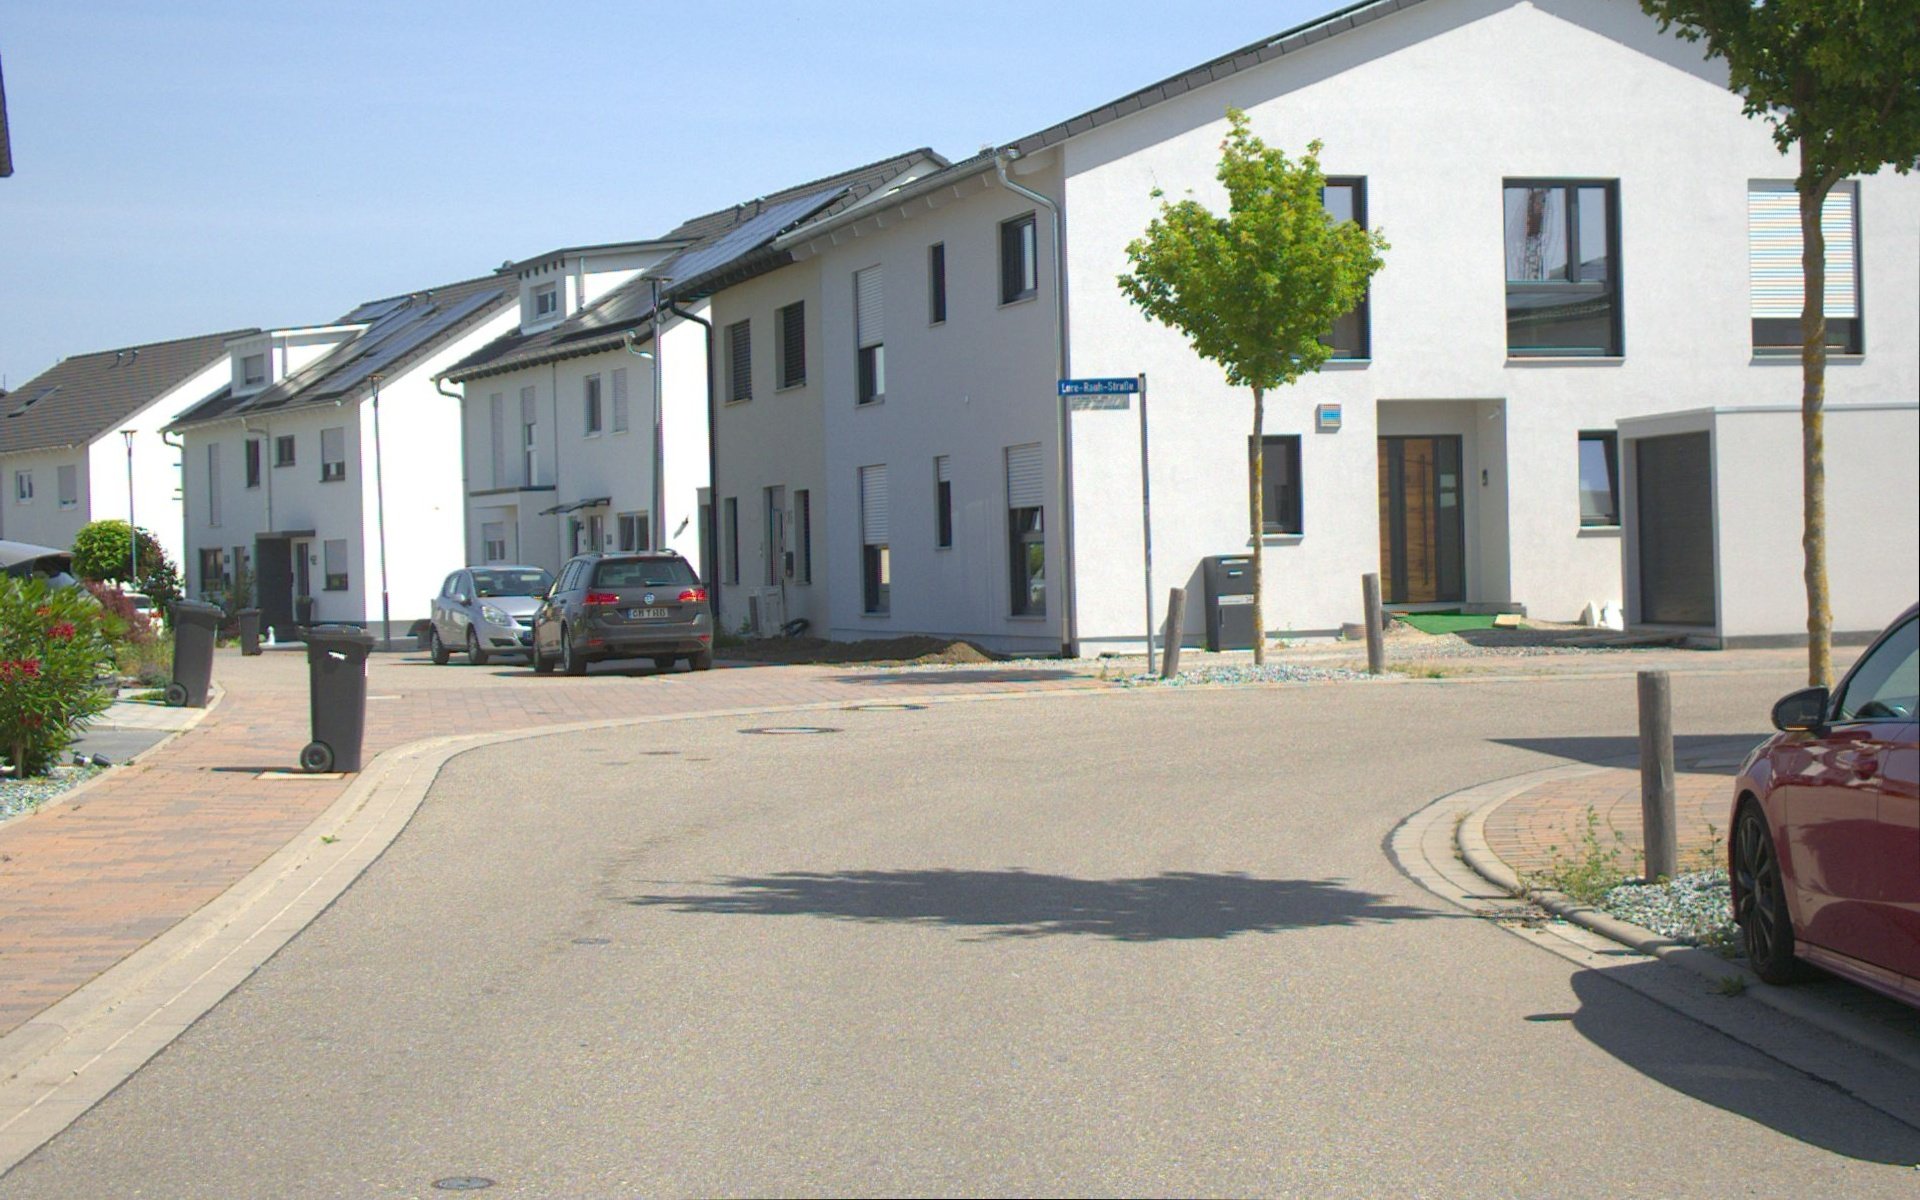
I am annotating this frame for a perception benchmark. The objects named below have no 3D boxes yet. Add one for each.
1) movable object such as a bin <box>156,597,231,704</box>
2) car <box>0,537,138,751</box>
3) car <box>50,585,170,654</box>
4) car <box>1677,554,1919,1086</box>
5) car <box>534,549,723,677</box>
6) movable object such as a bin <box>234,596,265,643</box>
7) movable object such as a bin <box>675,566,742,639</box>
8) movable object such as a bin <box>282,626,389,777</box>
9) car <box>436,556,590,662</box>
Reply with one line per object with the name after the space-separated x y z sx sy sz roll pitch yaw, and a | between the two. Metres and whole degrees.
-6.789 0.445 30.464 0.614 0.924 0.423 1 -1 -12 | movable object such as a bin
-8.158 0.319 24.856 3.987 1.481 1.754 -1 1 0 | car
-20.781 0.475 83.978 1.780 1.590 4.000 -2 1 -30 | car
3.502 0.579 10.182 1.762 1.433 4.520 -3 1 0 | car
-4.073 0.136 41.707 1.726 1.418 4.001 -2 1 -13 | car
-14.557 0.392 70.429 0.557 0.945 0.247 -2 1 -20 | movable object such as a bin
-3.797 0.031 51.911 0.784 1.046 0.804 -4 1 -18 | movable object such as a bin
-3.989 0.643 21.969 0.535 0.933 0.526 1 1 8 | movable object such as a bin
-6.715 0.117 51.361 1.676 1.459 3.945 -2 1 -16 | car
